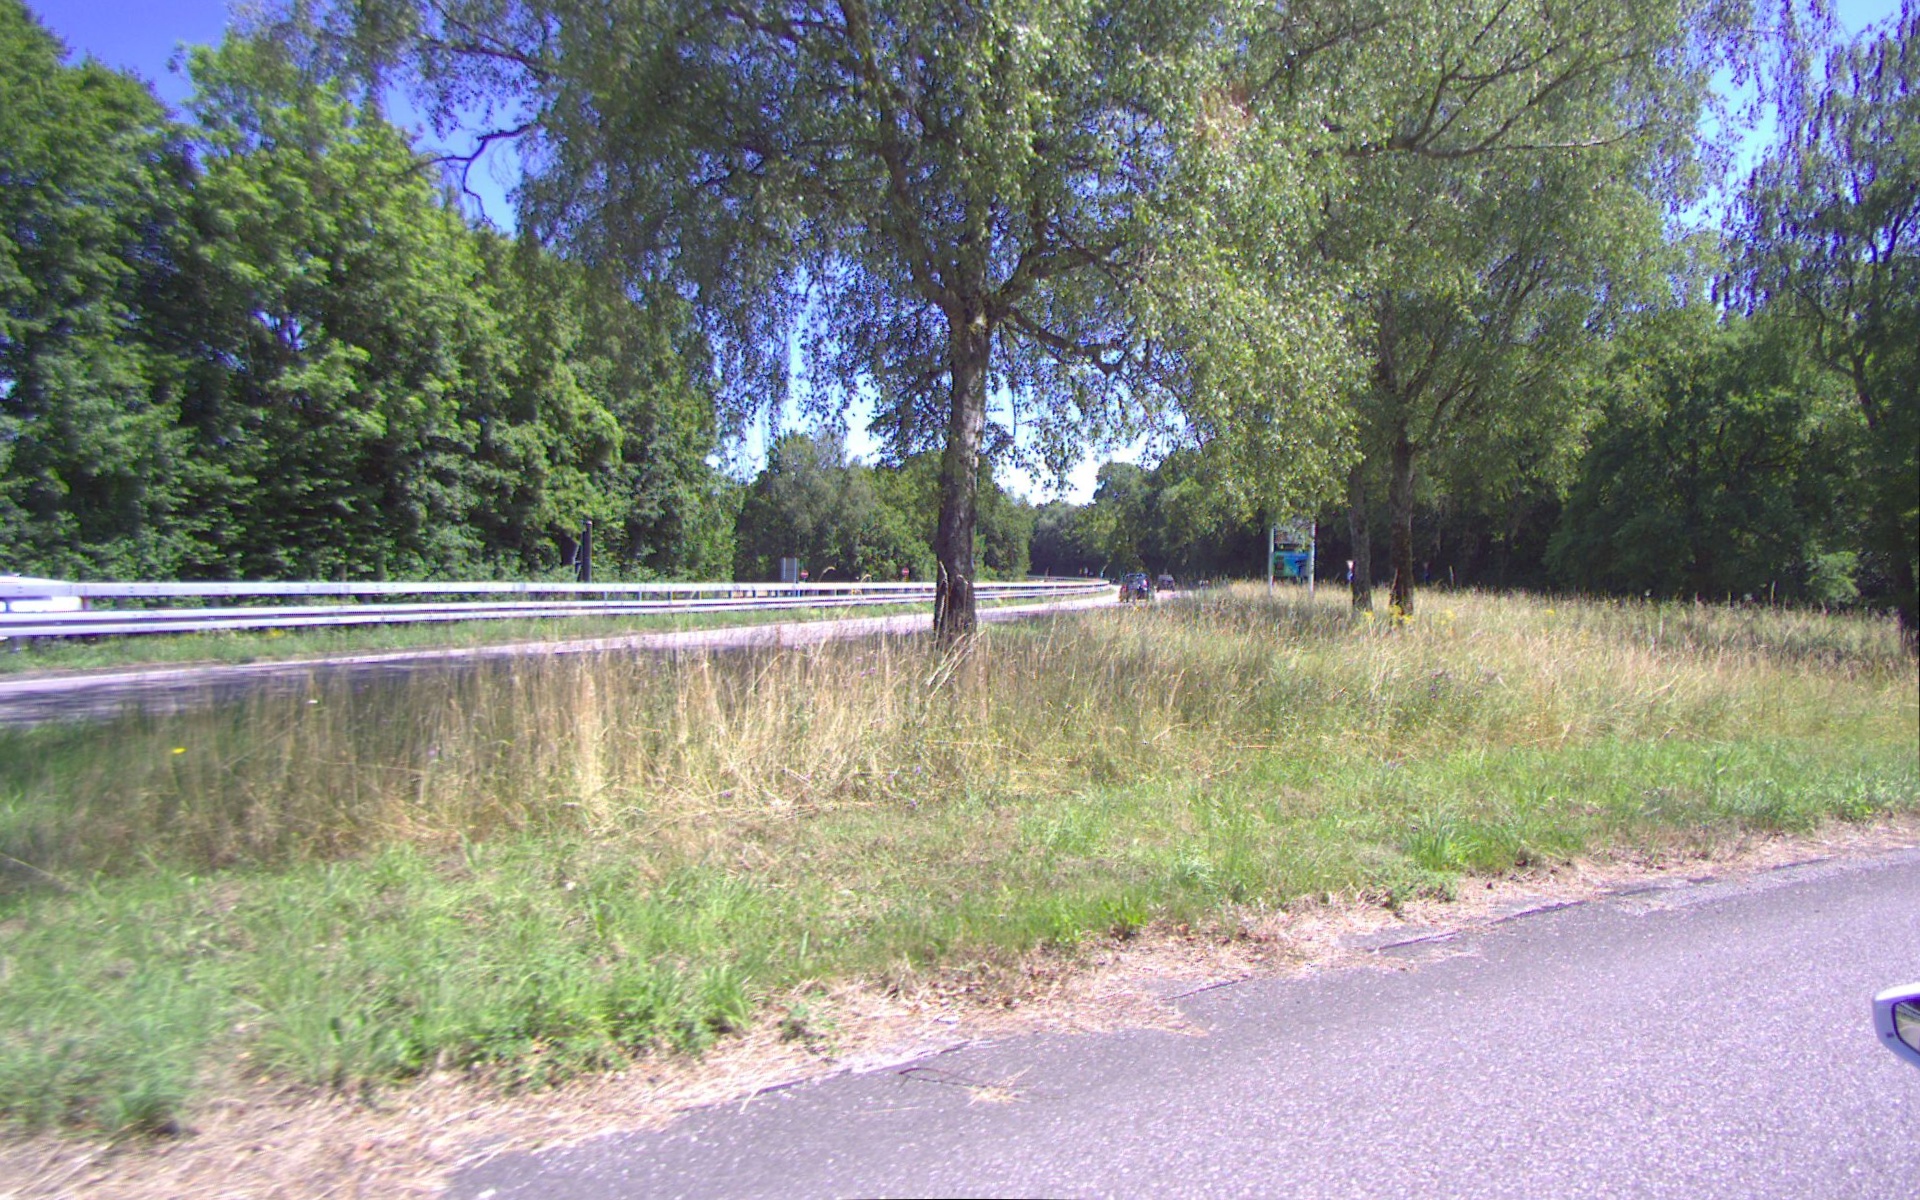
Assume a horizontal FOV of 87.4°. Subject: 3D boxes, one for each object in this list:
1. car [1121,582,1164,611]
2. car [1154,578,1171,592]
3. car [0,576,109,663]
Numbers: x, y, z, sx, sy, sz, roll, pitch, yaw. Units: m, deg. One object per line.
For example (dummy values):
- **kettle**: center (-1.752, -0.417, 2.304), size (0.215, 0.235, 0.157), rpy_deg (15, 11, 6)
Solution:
- **car**: center (9.894, -0.205, 54.322), size (1.489, 1.521, 3.587), rpy_deg (-1, 0, 23)
- **car**: center (20.189, -1.450, 100.350), size (1.499, 1.331, 3.417), rpy_deg (0, 0, 9)
- **car**: center (-16.253, 0.329, 16.006), size (1.418, 1.400, 3.845), rpy_deg (-1, 1, 24)
